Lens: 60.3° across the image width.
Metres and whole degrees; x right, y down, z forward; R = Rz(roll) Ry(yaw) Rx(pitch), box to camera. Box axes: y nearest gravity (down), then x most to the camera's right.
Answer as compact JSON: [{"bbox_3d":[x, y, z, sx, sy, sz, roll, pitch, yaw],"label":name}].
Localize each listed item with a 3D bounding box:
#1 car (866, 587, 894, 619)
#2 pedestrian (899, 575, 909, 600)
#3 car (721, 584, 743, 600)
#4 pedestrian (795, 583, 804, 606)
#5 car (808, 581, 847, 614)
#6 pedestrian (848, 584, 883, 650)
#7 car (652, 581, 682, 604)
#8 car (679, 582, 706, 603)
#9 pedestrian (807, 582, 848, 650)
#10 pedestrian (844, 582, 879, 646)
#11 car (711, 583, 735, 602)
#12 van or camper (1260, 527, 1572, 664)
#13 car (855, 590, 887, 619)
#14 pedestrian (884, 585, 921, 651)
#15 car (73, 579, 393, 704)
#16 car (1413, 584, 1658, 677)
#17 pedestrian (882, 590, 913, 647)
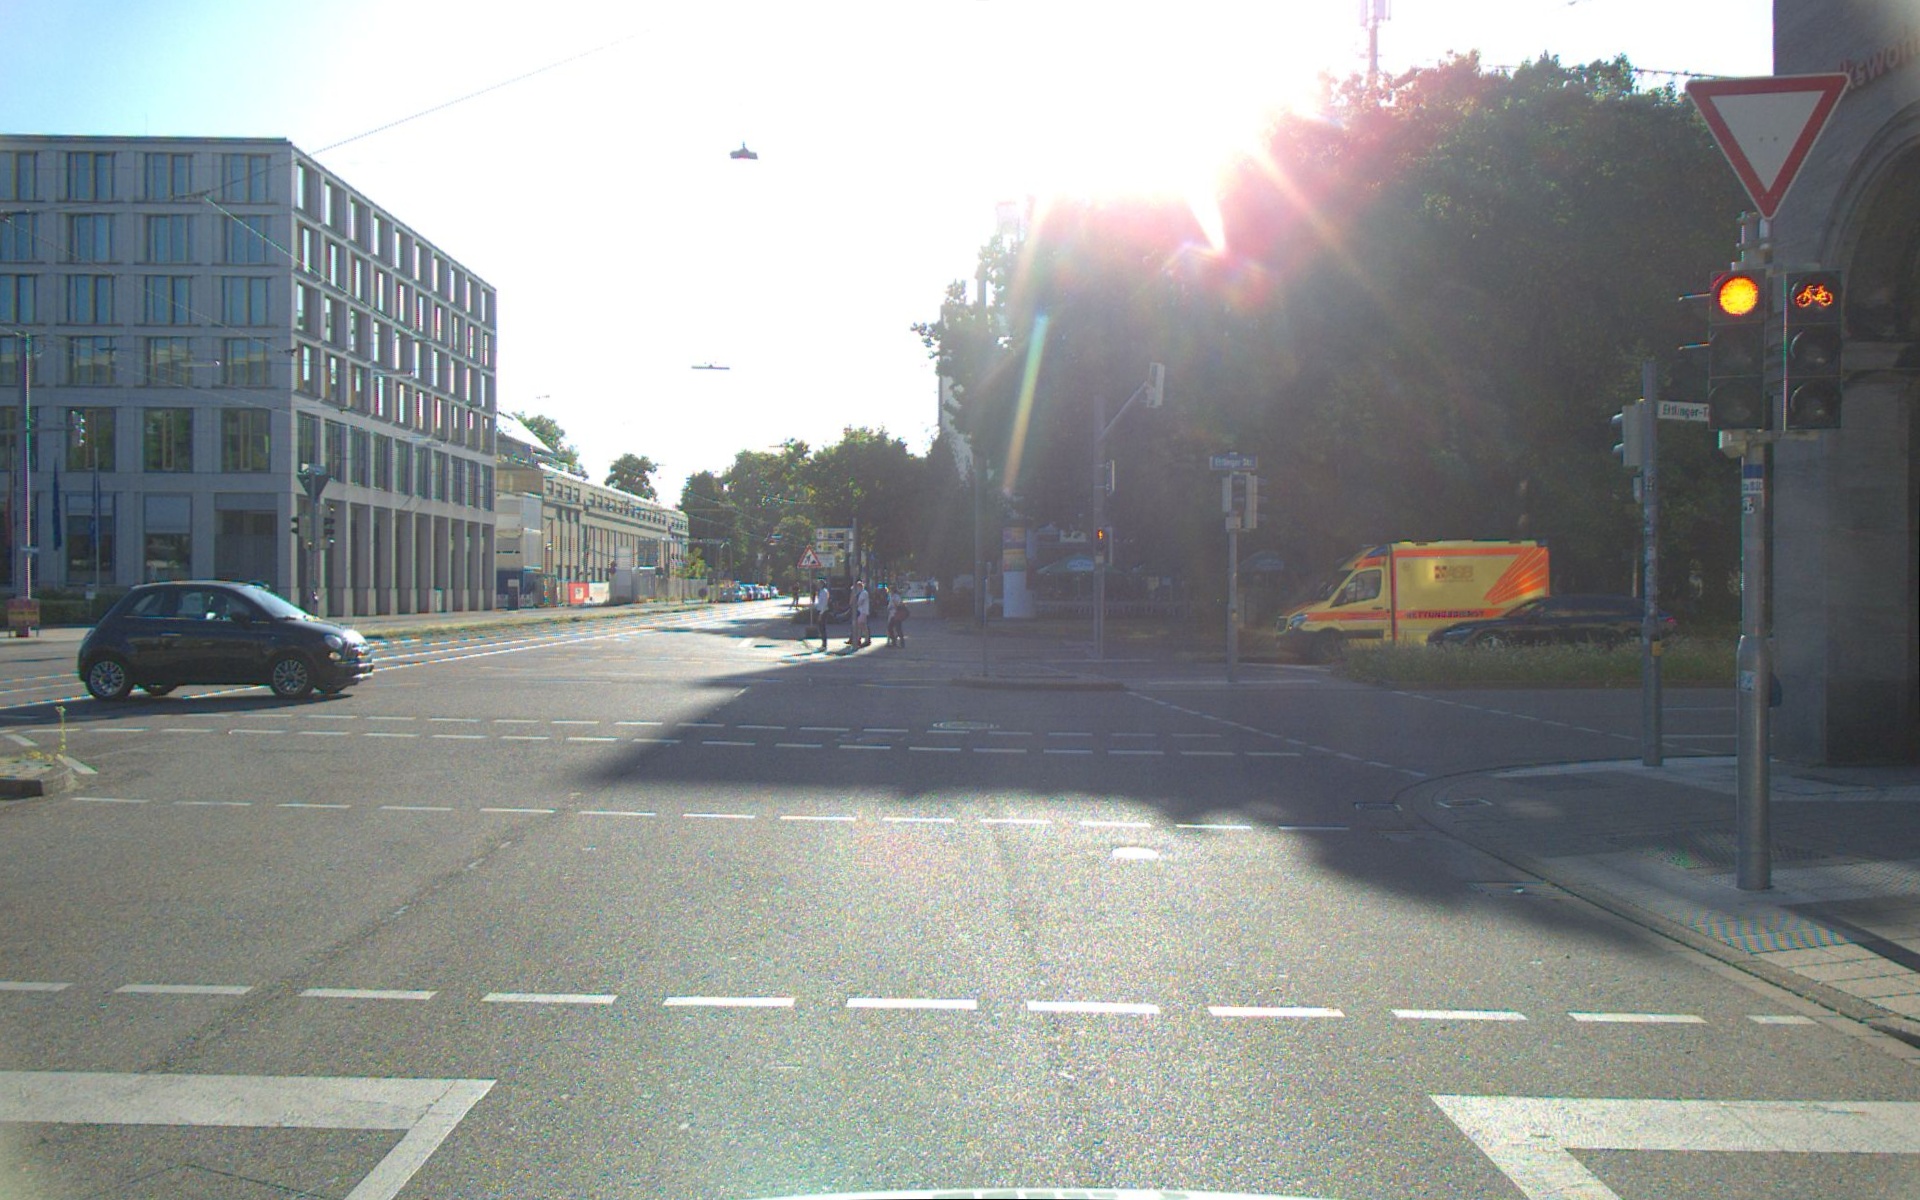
[{"bbox_3d":[-5.198,0.233,107.545,1.650,1.996,3.508,2,-1,-1],"label":"car"},{"bbox_3d":[-8.292,-1.907,245.837,1.373,3.660,1.567,2,-1,-1],"label":"pedestrian"},{"bbox_3d":[-22.010,-0.759,159.719,1.577,1.525,3.805,0,0,-1],"label":"car"},{"bbox_3d":[-10.539,-0.354,108.755,0.513,1.510,0.437,2,-1,-2],"label":"pedestrian"},{"bbox_3d":[-6.549,-0.118,81.760,1.650,1.527,3.508,2,-1,-1],"label":"car"},{"bbox_3d":[-2.659,0.466,46.502,0.834,1.815,0.776,0,0,-17],"label":"pedestrian"},{"bbox_3d":[-23.543,-0.603,133.111,1.782,1.742,3.805,0,0,-1],"label":"car"},{"bbox_3d":[-23.289,-0.636,144.026,1.782,1.742,3.805,0,0,-1],"label":"car"},{"bbox_3d":[-3.594,0.418,44.762,0.950,1.815,0.776,0,0,-17],"label":"pedestrian"},{"bbox_3d":[-2.827,0.385,47.289,0.834,1.815,0.776,0,0,-17],"label":"pedestrian"},{"bbox_3d":[-22.255,-0.718,155.544,1.782,1.742,3.805,0,0,-1],"label":"car"},{"bbox_3d":[10.570,-0.092,38.865,6.568,2.912,2.912,2,-1,3],"label":"van or camper"},{"bbox_3d":[-4.928,0.285,91.936,1.650,1.527,3.508,2,-1,-1],"label":"car"},{"bbox_3d":[-1.596,0.488,45.742,0.834,1.815,0.776,0,0,-17],"label":"pedestrian"},{"bbox_3d":[-9.376,0.524,21.521,3.460,1.532,1.521,1,0,-3],"label":"car"},{"bbox_3d":[11.457,0.602,33.121,4.226,1.676,1.887,2,-1,-1],"label":"car"},{"bbox_3d":[-1.760,0.517,46.474,0.750,1.586,0.585,0,0,-17],"label":"pedestrian"}]
